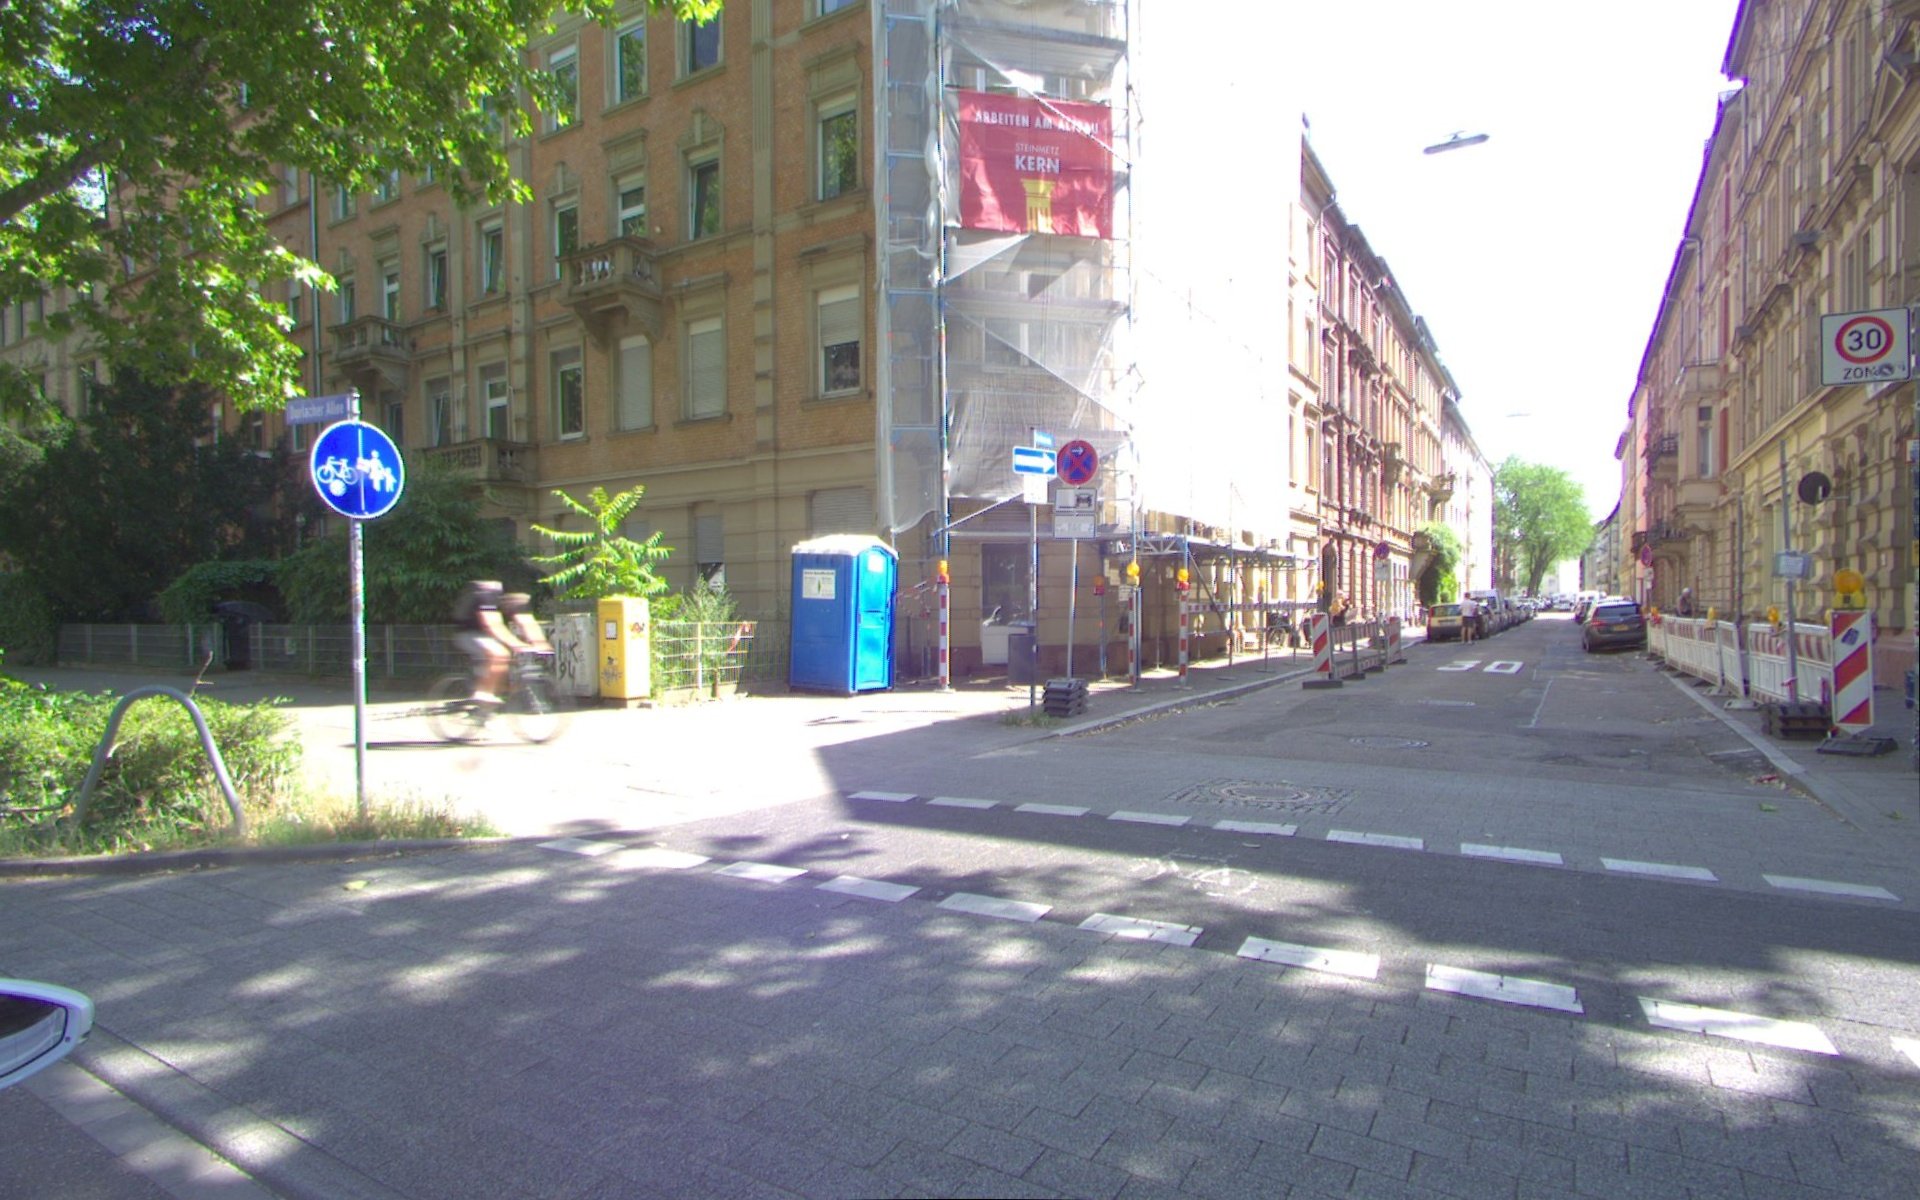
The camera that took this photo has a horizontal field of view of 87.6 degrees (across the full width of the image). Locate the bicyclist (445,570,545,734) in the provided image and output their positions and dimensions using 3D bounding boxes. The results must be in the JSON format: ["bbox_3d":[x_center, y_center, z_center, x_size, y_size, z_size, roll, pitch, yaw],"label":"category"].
[{"bbox_3d":[-4.837,0.525,10.436,0.683,1.645,0.623,0,1,22],"label":"bicyclist"}]

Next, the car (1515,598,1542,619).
[{"bbox_3d":[48.079,0.716,84.640,1.886,1.732,4.140,0,0,32],"label":"car"}]

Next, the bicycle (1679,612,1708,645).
[{"bbox_3d":[22.691,0.870,30.991,0.530,0.991,1.304,0,0,28],"label":"bicycle"}]

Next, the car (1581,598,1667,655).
[{"bbox_3d":[19.714,0.744,29.873,1.971,1.572,3.979,0,0,31],"label":"car"}]

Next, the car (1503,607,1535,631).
[{"bbox_3d":[42.338,1.448,75.787,1.886,1.732,4.139,0,0,33],"label":"car"}]

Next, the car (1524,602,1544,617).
[{"bbox_3d":[58.279,0.953,101.664,1.646,1.420,3.343,0,0,32],"label":"car"}]

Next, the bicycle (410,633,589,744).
[{"bbox_3d":[-4.805,0.885,10.426,1.893,1.063,0.531,-1,1,23],"label":"bicycle"}]

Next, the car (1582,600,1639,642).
[{"bbox_3d":[28.488,0.897,43.925,1.971,1.762,3.979,0,0,31],"label":"car"}]

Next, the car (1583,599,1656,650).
[{"bbox_3d":[23.043,0.818,35.095,1.971,1.661,3.979,0,0,31],"label":"car"}]

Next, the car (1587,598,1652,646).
[{"bbox_3d":[25.711,0.828,39.133,1.971,1.762,3.979,0,0,31],"label":"car"}]

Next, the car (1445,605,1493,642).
[{"bbox_3d":[22.593,1.003,44.432,1.702,1.549,3.478,0,0,30],"label":"car"}]

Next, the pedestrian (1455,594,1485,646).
[{"bbox_3d":[18.259,0.701,35.848,0.922,1.822,1.034,0,1,29],"label":"pedestrian"}]

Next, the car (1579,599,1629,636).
[{"bbox_3d":[31.763,0.843,49.473,1.971,1.762,3.979,0,0,31],"label":"car"}]

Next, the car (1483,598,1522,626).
[{"bbox_3d":[34.408,0.743,63.490,1.886,1.732,4.139,0,0,33],"label":"car"}]

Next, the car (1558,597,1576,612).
[{"bbox_3d":[76.481,0.573,126.146,1.971,1.762,3.980,0,0,31],"label":"car"}]

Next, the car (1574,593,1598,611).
[{"bbox_3d":[63.498,0.182,101.577,1.971,1.762,3.979,0,0,31],"label":"car"}]

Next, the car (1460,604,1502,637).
[{"bbox_3d":[25.768,0.999,49.486,1.702,1.549,3.478,0,0,30],"label":"car"}]

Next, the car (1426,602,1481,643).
[{"bbox_3d":[19.580,0.864,39.696,1.702,1.549,3.478,0,0,30],"label":"car"}]

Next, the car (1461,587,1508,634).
[{"bbox_3d":[28.248,0.538,53.865,1.886,2.405,4.224,0,0,33],"label":"car"}]

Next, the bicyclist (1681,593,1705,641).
[{"bbox_3d":[22.713,0.526,31.032,0.525,1.472,0.459,0,1,29],"label":"bicyclist"}]

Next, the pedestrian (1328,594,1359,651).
[{"bbox_3d":[11.956,0.686,31.233,0.843,1.748,0.834,0,0,19],"label":"pedestrian"}]

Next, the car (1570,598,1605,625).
[{"bbox_3d":[43.022,0.773,68.725,1.971,1.762,3.979,0,0,31],"label":"car"}]
